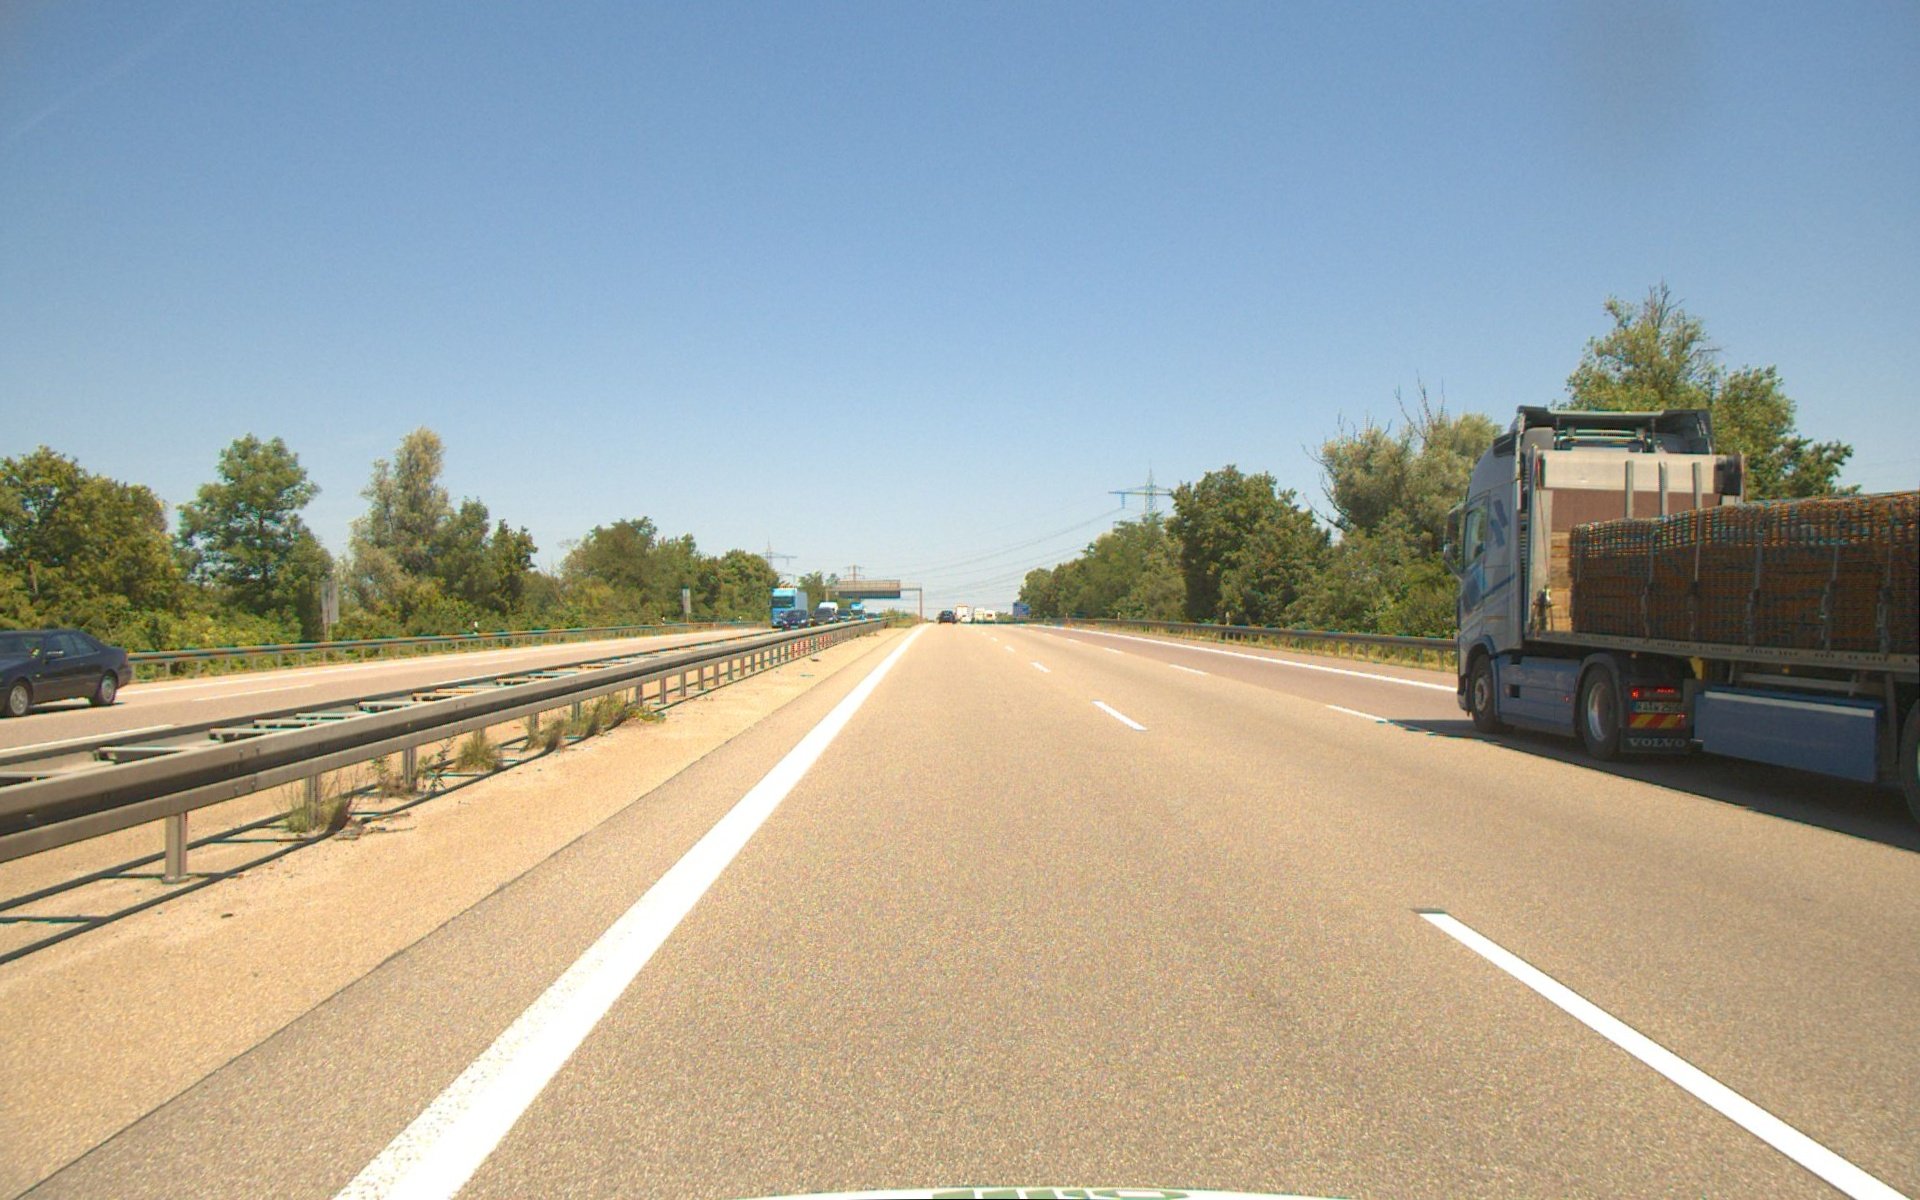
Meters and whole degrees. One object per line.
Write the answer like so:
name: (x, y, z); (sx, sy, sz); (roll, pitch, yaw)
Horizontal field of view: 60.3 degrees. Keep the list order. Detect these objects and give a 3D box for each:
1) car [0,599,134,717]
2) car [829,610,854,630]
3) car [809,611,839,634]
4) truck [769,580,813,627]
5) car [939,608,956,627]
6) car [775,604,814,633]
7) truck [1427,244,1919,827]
car: (-16.527, 1.004, 28.843); (1.954, 1.904, 4.579); (-4, 0, -2)
car: (-11.183, 1.877, 156.296); (1.953, 1.719, 4.407); (-2, 0, -1)
car: (-10.444, 1.706, 127.034); (1.953, 1.719, 4.407); (-1, 0, -1)
truck: (-18.291, 0.421, 180.289); (3.161, 4.802, 16.854); (-3, 0, -1)
car: (-1.343, 1.917, 180.513); (1.755, 2.049, 3.887); (1, -1, 0)
car: (-10.540, 1.165, 105.606); (1.953, 1.632, 4.598); (-5, 0, -1)
truck: (8.009, -0.394, 14.267); (2.909, 4.026, 16.607); (1, -1, -1)
